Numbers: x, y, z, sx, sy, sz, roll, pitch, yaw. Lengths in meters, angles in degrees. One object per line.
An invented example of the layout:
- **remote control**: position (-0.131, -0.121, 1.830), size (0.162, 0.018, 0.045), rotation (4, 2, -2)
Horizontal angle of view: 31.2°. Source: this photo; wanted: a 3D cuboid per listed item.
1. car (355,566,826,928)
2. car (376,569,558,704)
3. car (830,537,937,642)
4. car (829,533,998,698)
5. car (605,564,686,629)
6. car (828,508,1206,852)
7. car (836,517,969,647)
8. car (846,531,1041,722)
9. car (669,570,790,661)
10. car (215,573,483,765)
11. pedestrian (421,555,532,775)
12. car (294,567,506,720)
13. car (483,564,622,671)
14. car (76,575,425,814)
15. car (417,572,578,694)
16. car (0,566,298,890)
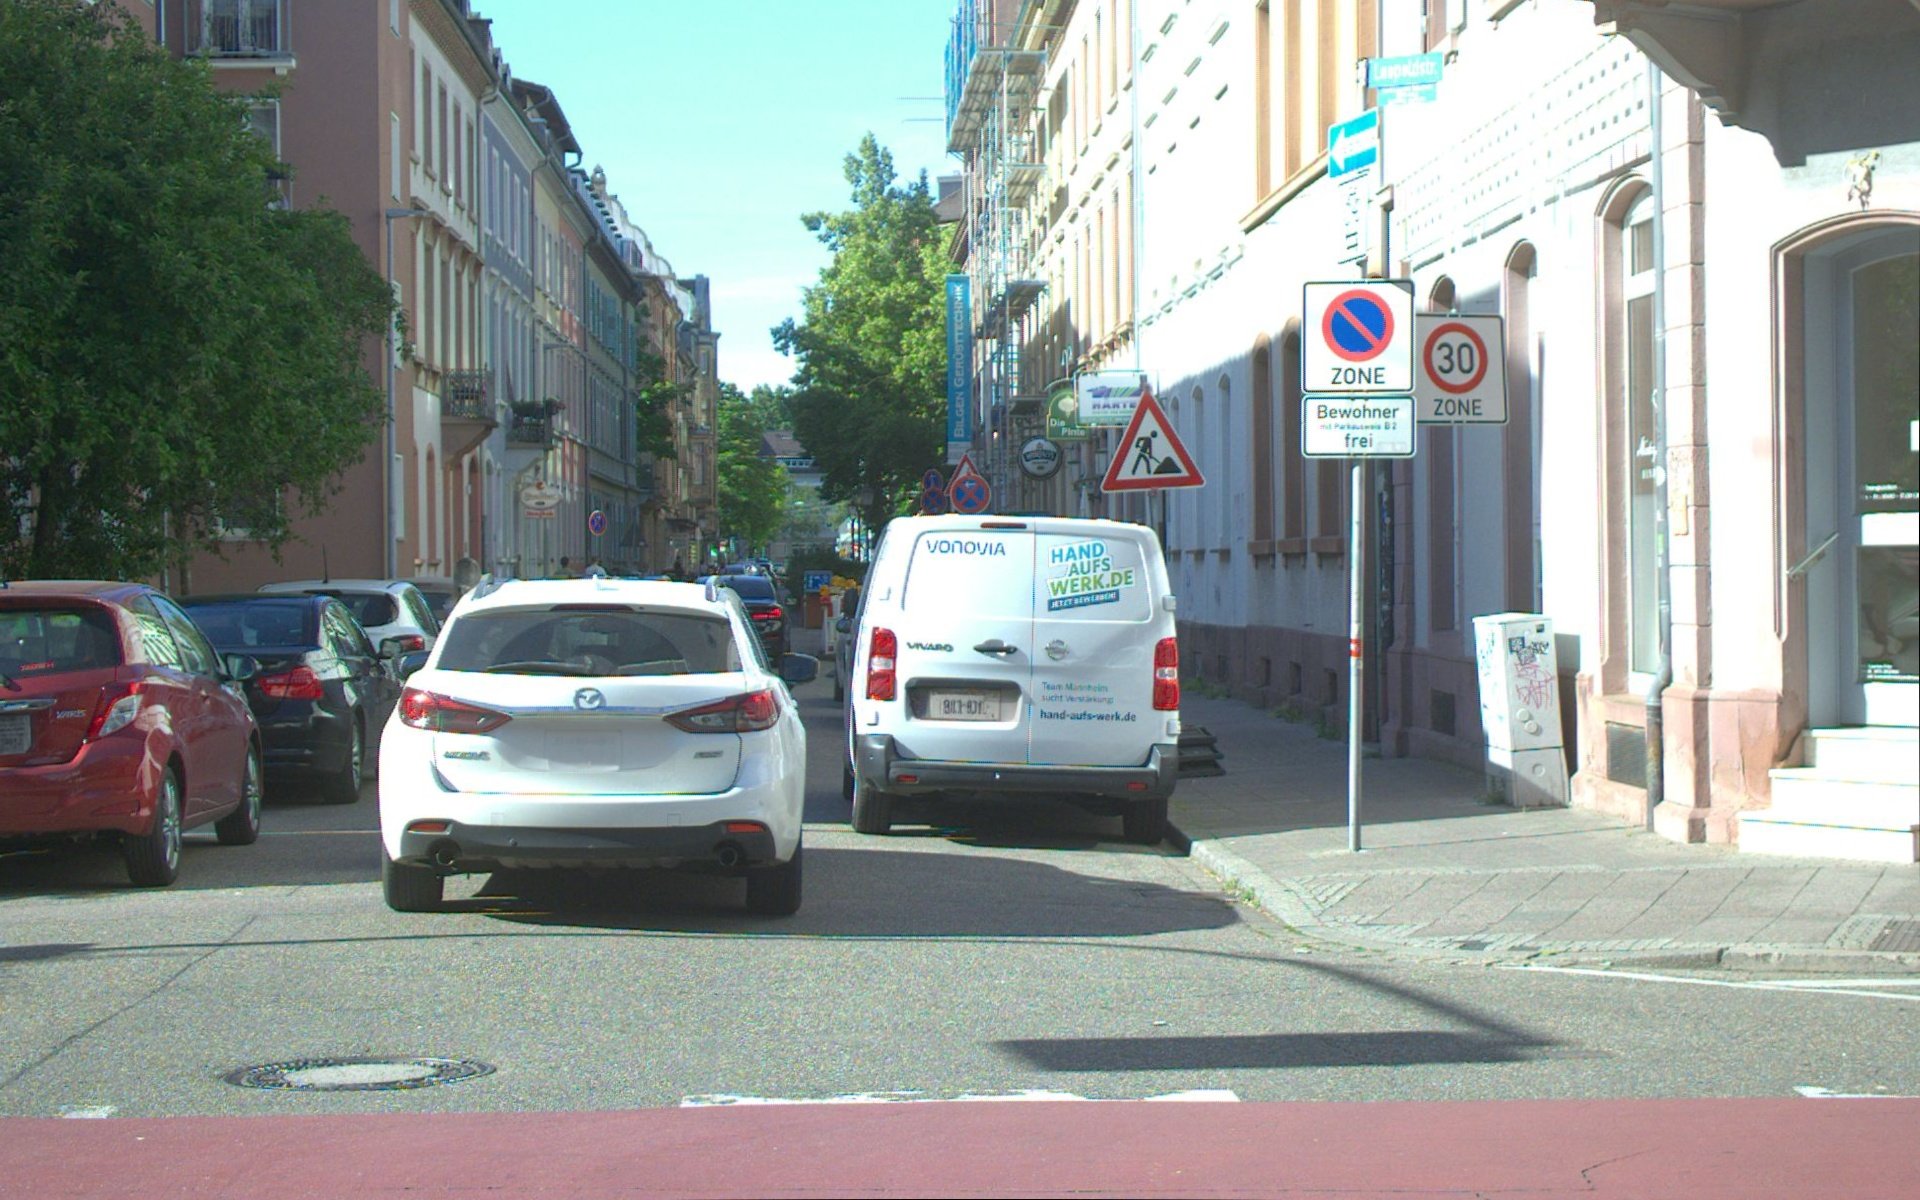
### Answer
- **car**: position (-1.571, 0.619, 15.881), size (1.831, 1.452, 3.962), rotation (0, -1, -1)
- **car**: position (-5.726, 0.395, 40.264), size (1.653, 1.495, 3.763), rotation (0, 1, -1)
- **car**: position (-1.392, -0.204, 62.762), size (1.894, 1.853, 3.995), rotation (0, 1, -1)
- **car**: position (-0.561, 0.148, 40.595), size (1.894, 1.853, 3.995), rotation (0, 1, -1)
- **car**: position (-7.411, -0.090, 81.240), size (1.653, 1.495, 3.763), rotation (0, 1, -1)
- **car**: position (0.222, 0.418, 21.585), size (1.894, 1.853, 5.015), rotation (2, 1, -4)
- **car**: position (-0.882, -0.288, 52.869), size (1.894, 1.853, 3.995), rotation (-2, 1, -1)
- **car**: position (-0.199, 0.233, 35.519), size (1.894, 1.853, 3.995), rotation (0, 1, -1)
- **car**: position (-3.693, 0.216, 55.700), size (1.760, 1.405, 4.328), rotation (0, 1, -1)
- **car**: position (-5.076, 0.530, 28.986), size (1.653, 1.495, 3.763), rotation (0, 1, -1)
- **pedestrian**: position (-3.636, 0.474, 25.804), size (0.733, 1.608, 0.816), rotation (-1, 0, -13)
- **car**: position (-5.764, 0.410, 35.739), size (1.653, 1.495, 3.763), rotation (0, 1, -1)
- **car**: position (-5.917, 0.222, 50.249), size (1.653, 1.495, 3.763), rotation (0, 1, -1)
- **car**: position (-4.819, 0.586, 23.866), size (1.653, 1.495, 4.080), rotation (0, 1, -1)
- **car**: position (-5.940, 0.392, 44.500), size (1.653, 1.495, 3.763), rotation (0, 1, -1)
- **car**: position (-4.658, 0.594, 17.997), size (1.684, 1.495, 3.807), rotation (-1, 1, -1)
